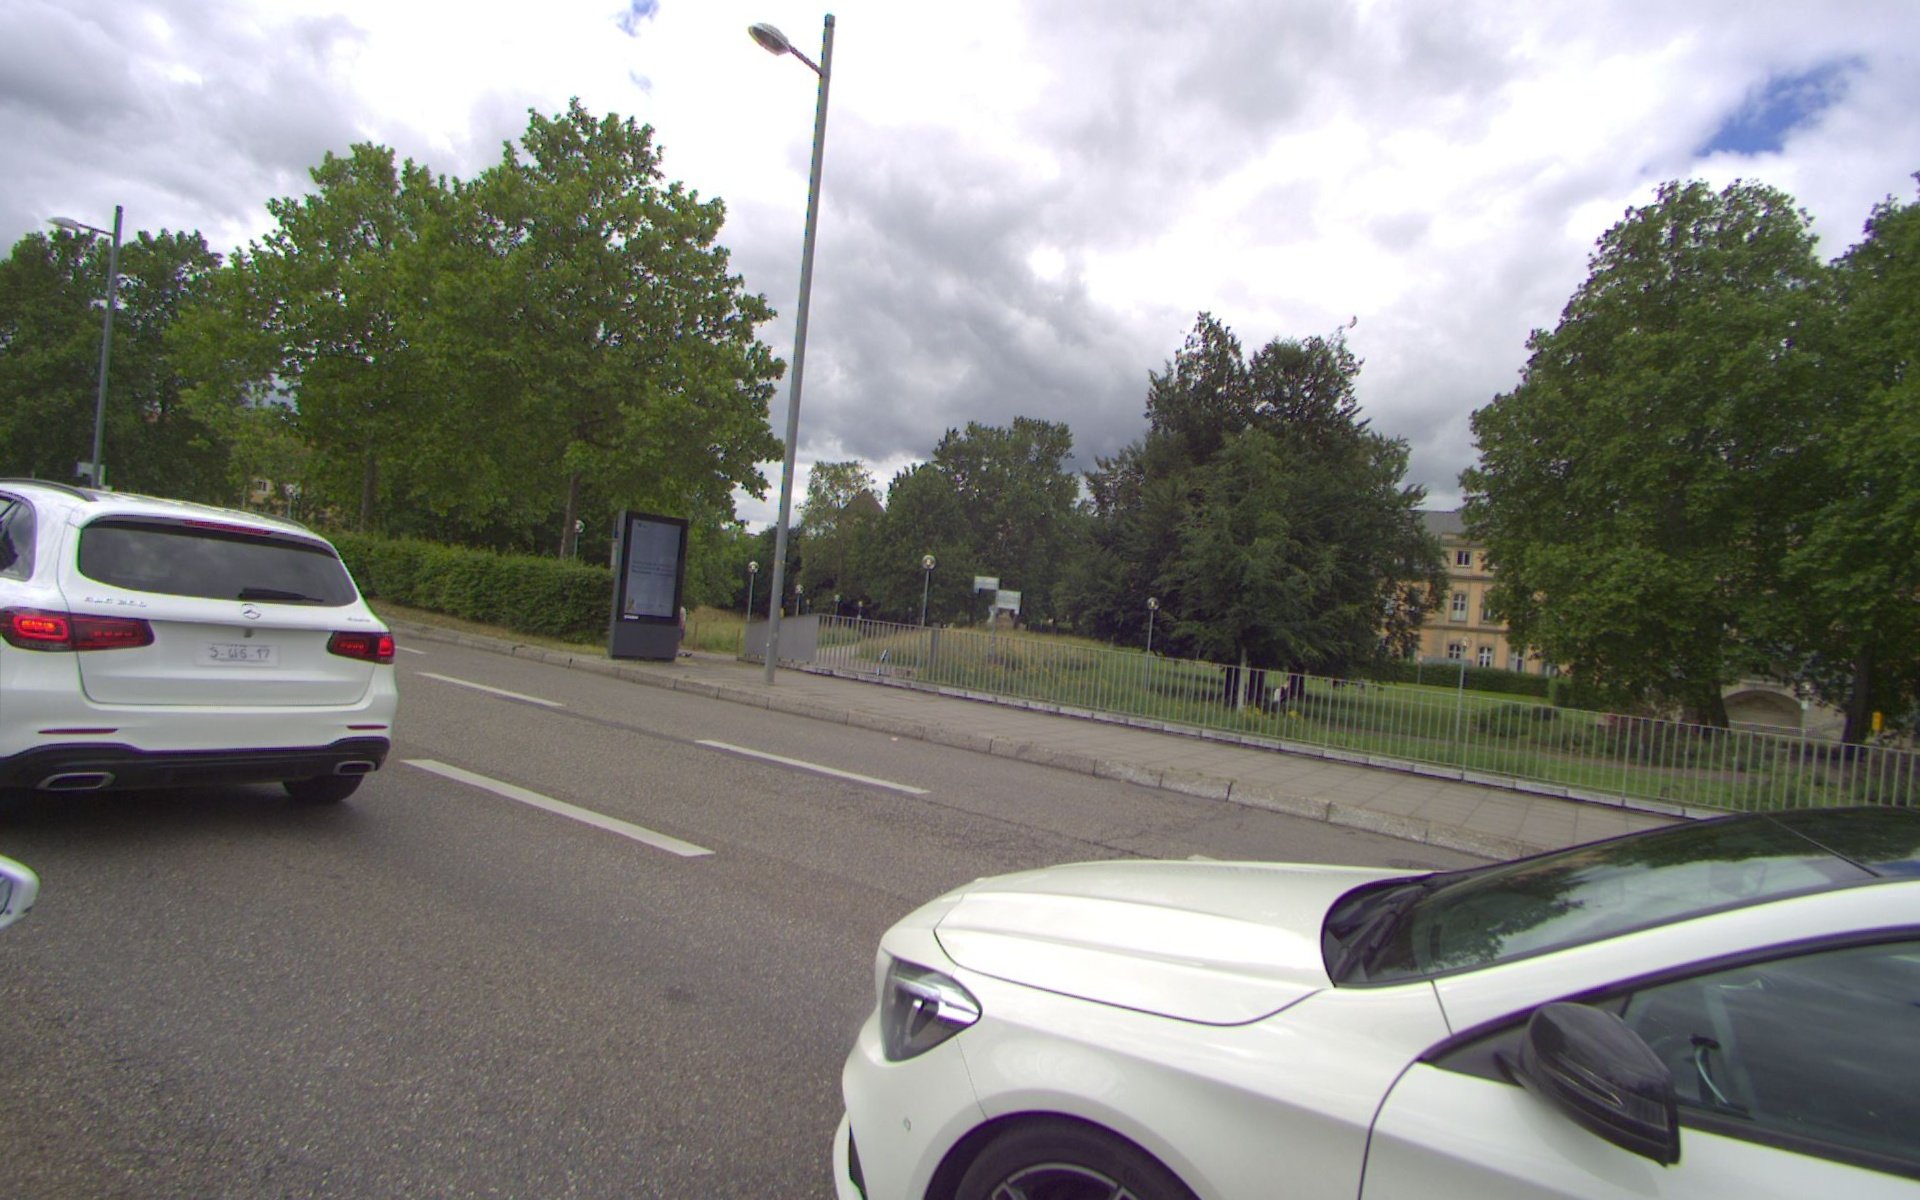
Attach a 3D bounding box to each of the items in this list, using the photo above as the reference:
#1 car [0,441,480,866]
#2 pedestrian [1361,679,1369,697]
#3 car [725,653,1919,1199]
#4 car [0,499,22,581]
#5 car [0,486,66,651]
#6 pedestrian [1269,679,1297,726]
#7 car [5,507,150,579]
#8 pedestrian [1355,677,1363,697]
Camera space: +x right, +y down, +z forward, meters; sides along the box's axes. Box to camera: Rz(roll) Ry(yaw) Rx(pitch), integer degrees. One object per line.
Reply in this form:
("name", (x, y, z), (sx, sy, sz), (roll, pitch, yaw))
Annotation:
("car", (-5.084, 0.099, 5.927), (4.417, 1.673, 1.929), (6, -1, 33))
("pedestrian", (38.431, 8.339, 95.386), (0.460, 1.725, 0.405), (5, -2, 32))
("car", (1.847, 1.088, 1.836), (4.454, 1.436, 1.796), (5, -2, 33))
("car", (-22.095, -1.516, 21.324), (4.232, 1.659, 1.997), (6, -1, 30))
("car", (-11.410, -0.536, 10.486), (4.417, 1.569, 1.929), (6, -2, 33))
("pedestrian", (11.957, 3.778, 37.238), (0.645, 1.619, 0.684), (6, -2, 0))
("car", (-23.322, -1.534, 26.545), (4.460, 1.476, 1.932), (5, -3, 37))
("pedestrian", (37.640, 8.196, 94.854), (0.460, 1.756, 0.405), (5, -2, 32))
